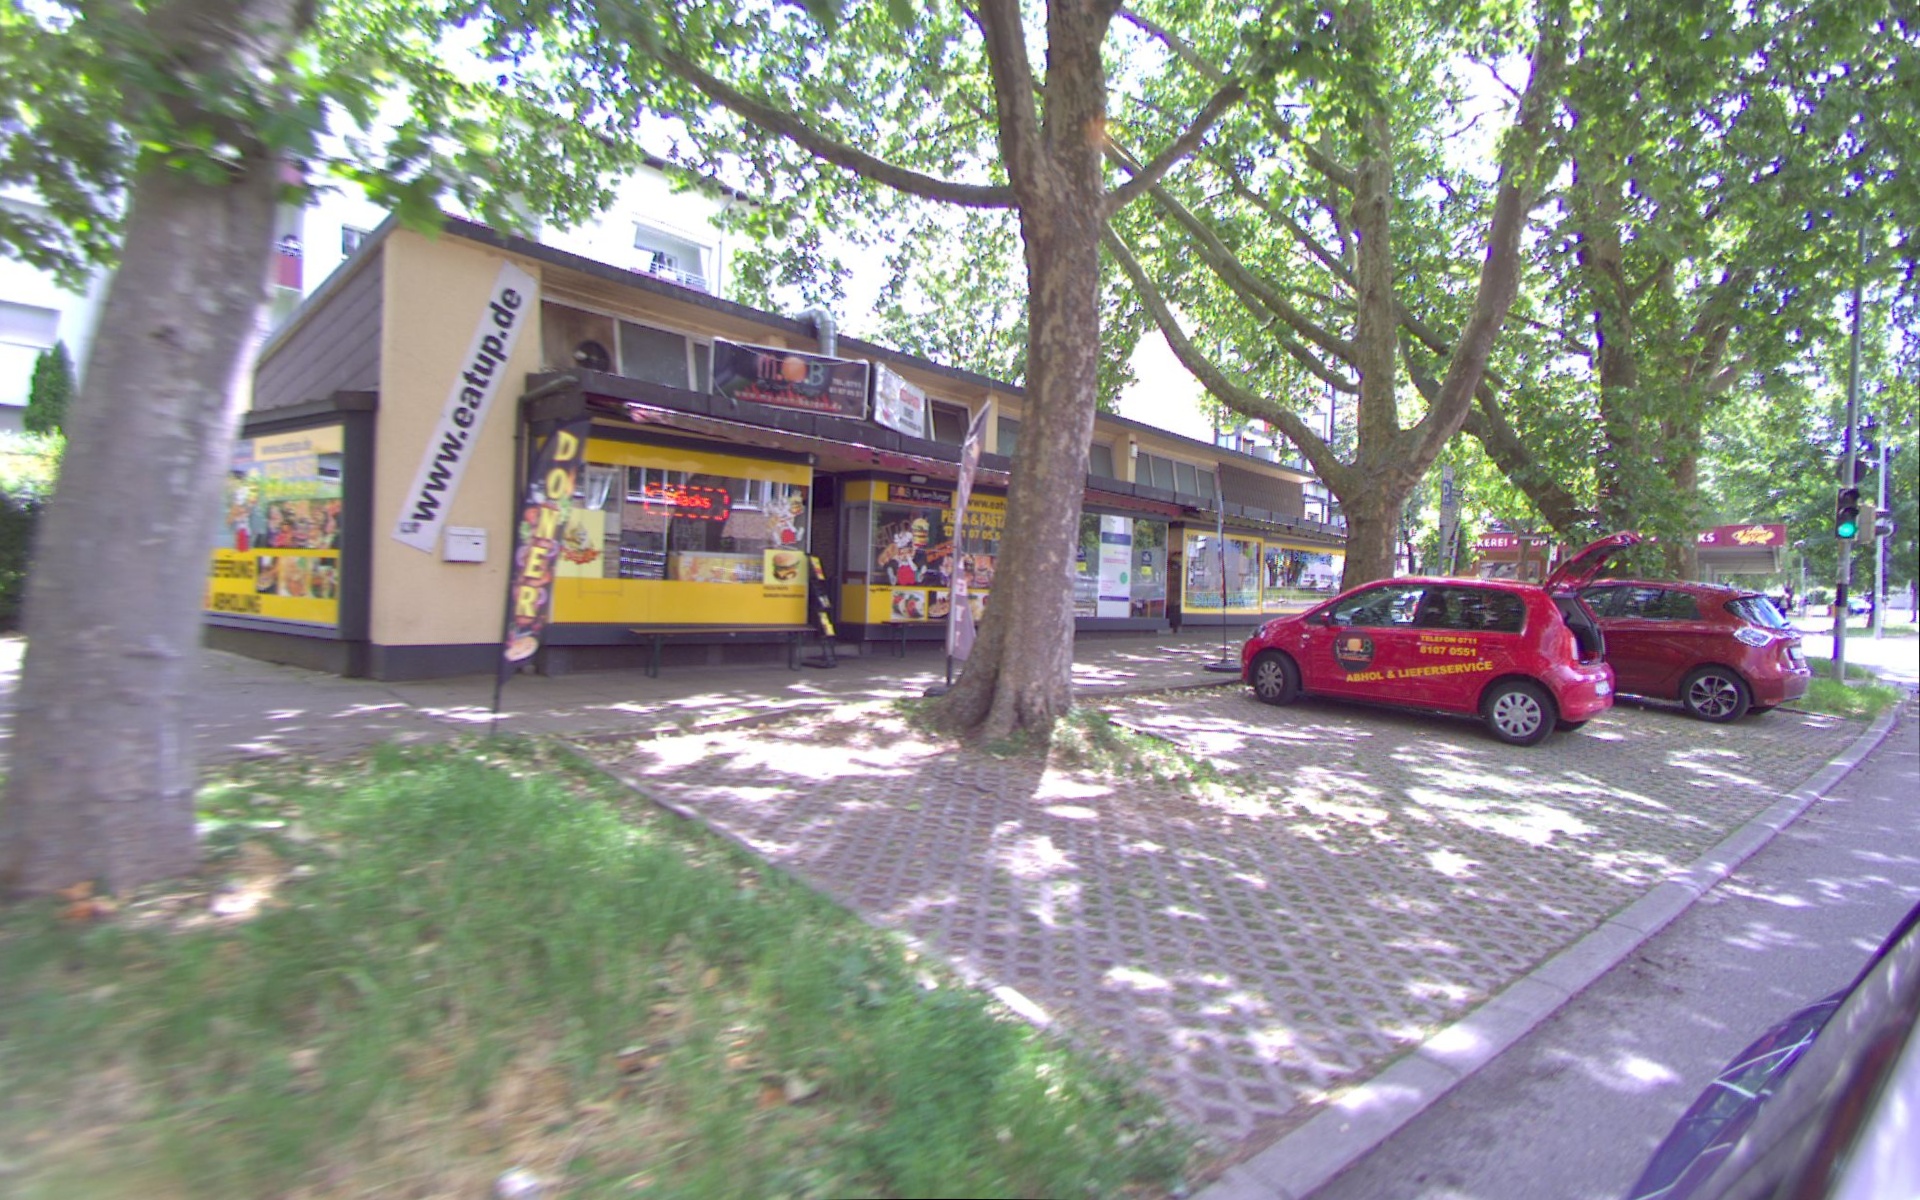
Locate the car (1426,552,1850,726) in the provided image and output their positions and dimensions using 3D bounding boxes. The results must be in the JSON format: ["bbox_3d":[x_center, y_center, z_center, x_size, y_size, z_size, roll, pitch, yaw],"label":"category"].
[{"bbox_3d":[8.335,0.332,12.796,1.699,1.630,4.043,0,5,-37],"label":"car"}]

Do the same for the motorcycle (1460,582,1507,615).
[{"bbox_3d":[20.164,-0.069,39.038,0.726,1.210,2.137,2,1,3],"label":"motorcycle"}]

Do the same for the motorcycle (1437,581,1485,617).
[{"bbox_3d":[18.459,-0.051,37.326,0.726,1.210,2.138,2,2,1],"label":"motorcycle"}]

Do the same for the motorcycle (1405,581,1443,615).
[{"bbox_3d":[17.660,-0.100,38.573,0.728,1.210,2.134,2,2,9],"label":"motorcycle"}]

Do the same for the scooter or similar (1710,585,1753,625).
[{"bbox_3d":[25.973,0.171,34.082,1.206,1.324,0.378,1,1,-9],"label":"scooter or similar"}]

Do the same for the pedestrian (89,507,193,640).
[{"bbox_3d":[-10.085,-0.323,12.464,0.750,1.554,0.894,2,1,42],"label":"pedestrian"}]

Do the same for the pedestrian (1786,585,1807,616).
[{"bbox_3d":[43.186,0.024,52.245,0.643,1.557,0.725,0,1,-45],"label":"pedestrian"}]

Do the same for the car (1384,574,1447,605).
[{"bbox_3d":[21.405,-0.478,47.510,1.743,1.359,3.436,2,1,42],"label":"car"}]

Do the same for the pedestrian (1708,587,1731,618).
[{"bbox_3d":[33.206,0.114,44.235,0.675,1.282,0.664,5,4,41],"label":"pedestrian"}]

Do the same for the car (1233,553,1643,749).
[{"bbox_3d":[4.768,0.374,10.396,1.584,1.533,3.412,0,4,-44],"label":"car"}]

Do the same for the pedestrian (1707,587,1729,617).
[{"bbox_3d":[33.970,0.073,45.349,0.671,1.282,0.668,5,4,39],"label":"pedestrian"}]

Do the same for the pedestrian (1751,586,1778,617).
[{"bbox_3d":[34.623,0.061,43.542,0.661,1.282,0.678,1,4,-37],"label":"pedestrian"}]

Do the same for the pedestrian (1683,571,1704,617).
[{"bbox_3d":[26.408,-0.216,36.422,0.436,1.652,0.399,1,1,8],"label":"pedestrian"}]

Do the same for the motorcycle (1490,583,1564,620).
[{"bbox_3d":[19.856,0.054,35.493,0.725,1.210,2.141,1,2,-31],"label":"motorcycle"}]

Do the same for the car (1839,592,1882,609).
[{"bbox_3d":[75.716,0.022,85.158,1.793,1.371,3.961,2,2,28],"label":"car"}]
